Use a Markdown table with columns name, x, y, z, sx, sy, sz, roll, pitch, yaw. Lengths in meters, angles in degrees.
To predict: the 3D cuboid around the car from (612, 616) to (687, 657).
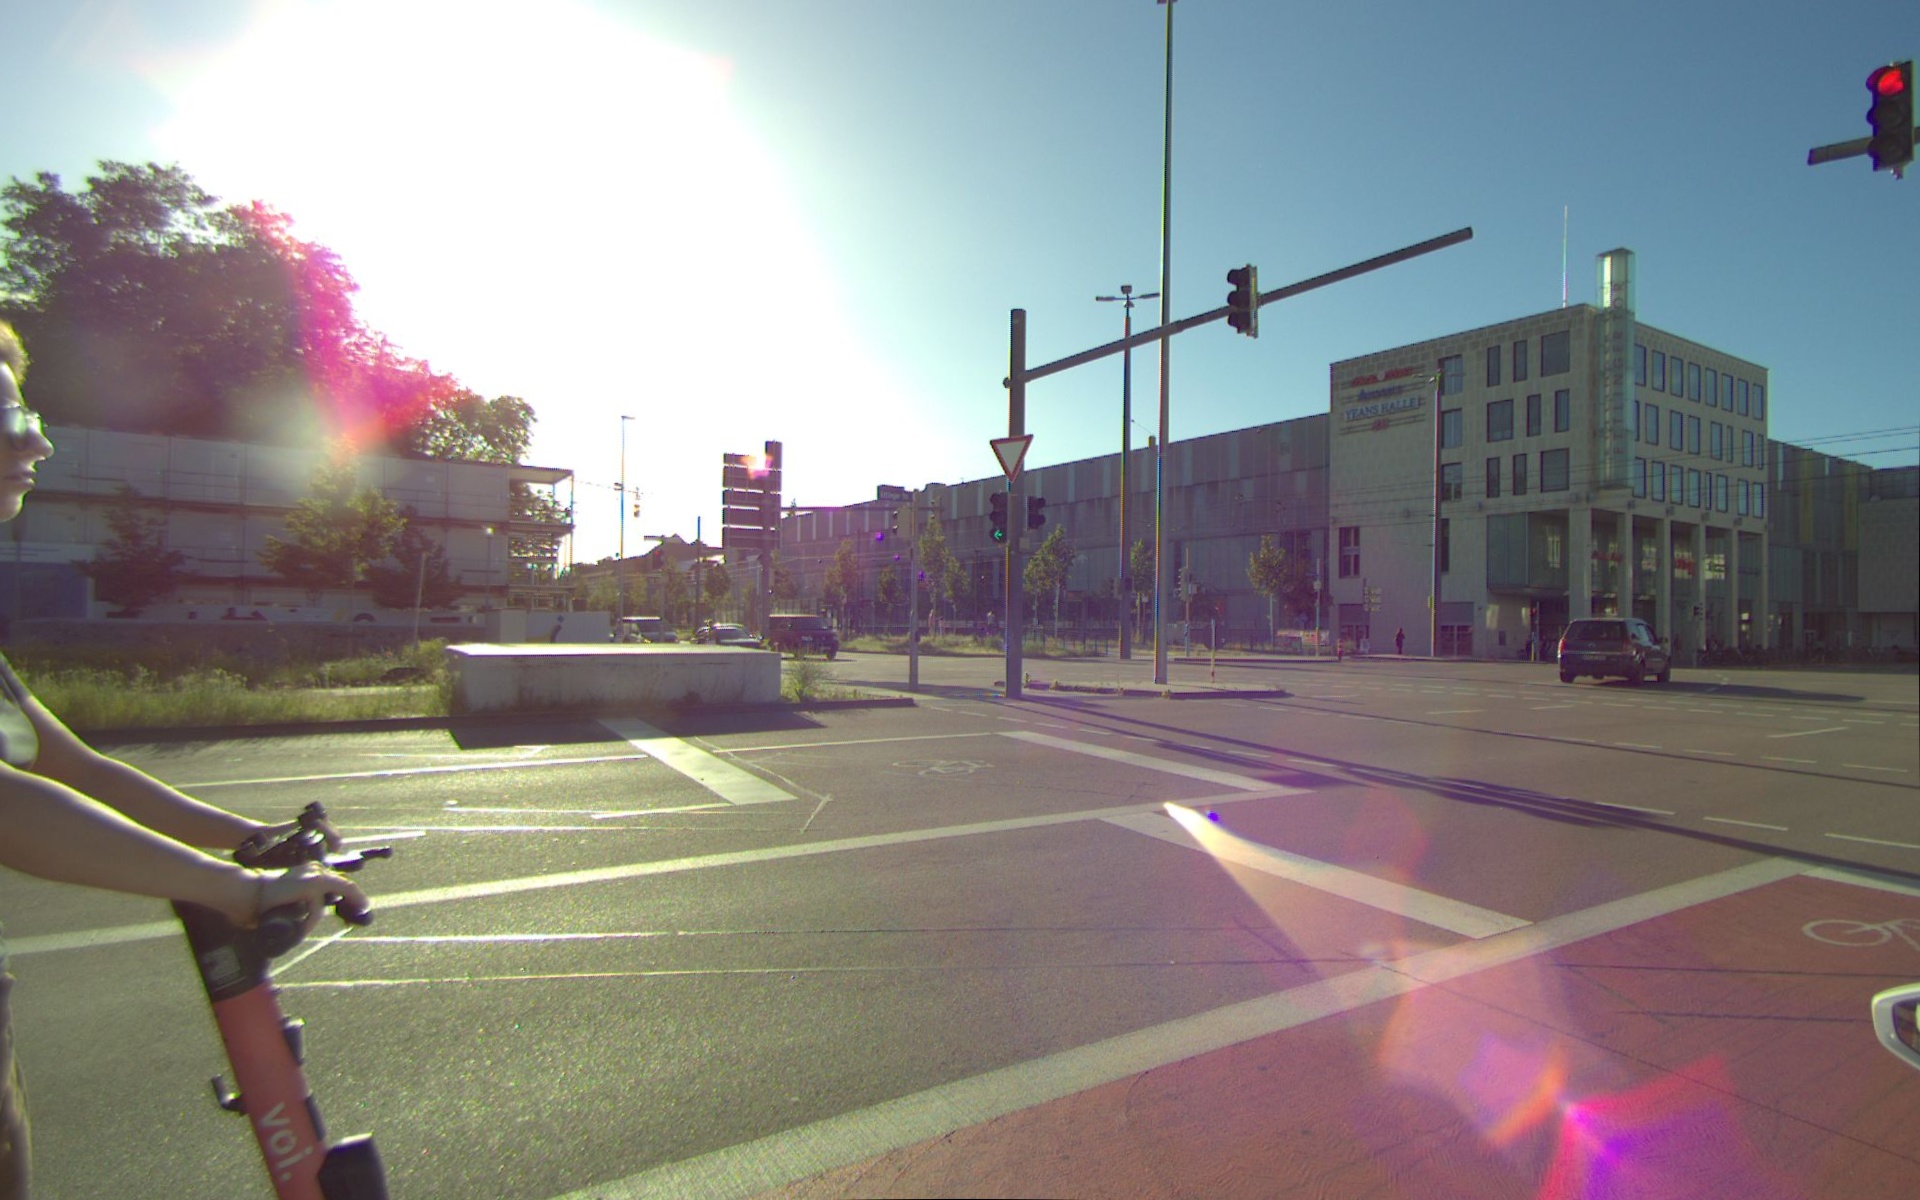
| name | x | y | z | sx | sy | sz | roll | pitch | yaw |
| --- | --- | --- | --- | --- | --- | --- | --- | --- | --- |
| car | -14.977 | 1.716 | 48.332 | 1.981 | 1.849 | 4.821 | 1 | -2 | -36 |

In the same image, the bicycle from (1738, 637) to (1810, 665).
| name | x | y | z | sx | sy | sz | roll | pitch | yaw |
| --- | --- | --- | --- | --- | --- | --- | --- | --- | --- |
| bicycle | 51.942 | 3.234 | 64.154 | 0.979 | 1.719 | 3.462 | 1 | -2 | -40 |

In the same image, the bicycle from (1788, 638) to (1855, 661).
| name | x | y | z | sx | sy | sz | roll | pitch | yaw |
| --- | --- | --- | --- | --- | --- | --- | --- | --- | --- |
| bicycle | 60.378 | 3.441 | 70.466 | 0.979 | 1.547 | 3.462 | 2 | -2 | -40 |

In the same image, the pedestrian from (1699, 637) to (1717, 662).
| name | x | y | z | sx | sy | sz | roll | pitch | yaw |
| --- | --- | --- | --- | --- | --- | --- | --- | --- | --- |
| pedestrian | 50.020 | 3.298 | 67.160 | 0.689 | 1.664 | 0.778 | 1 | -1 | -38 |

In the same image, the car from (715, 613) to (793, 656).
| name | x | y | z | sx | sy | sz | roll | pitch | yaw |
| --- | --- | --- | --- | --- | --- | --- | --- | --- | --- |
| car | -10.393 | 1.704 | 50.410 | 1.981 | 2.040 | 4.821 | 1 | -2 | -36 |

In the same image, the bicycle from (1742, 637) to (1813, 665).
| name | x | y | z | sx | sy | sz | roll | pitch | yaw |
| --- | --- | --- | --- | --- | --- | --- | --- | --- | --- |
| bicycle | 52.856 | 3.266 | 64.958 | 0.979 | 1.719 | 3.462 | 1 | -2 | -40 |

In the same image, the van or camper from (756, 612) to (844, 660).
| name | x | y | z | sx | sy | sz | roll | pitch | yaw |
| --- | --- | --- | --- | --- | --- | --- | --- | --- | --- |
| van or camper | -7.325 | 1.601 | 45.609 | 1.981 | 2.040 | 4.821 | 1 | -2 | -36 |

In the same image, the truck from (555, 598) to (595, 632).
| name | x | y | z | sx | sy | sz | roll | pitch | yaw |
| --- | --- | --- | --- | --- | --- | --- | --- | --- | --- |
| truck | -33.484 | 1.340 | 87.241 | 1.979 | 2.875 | 6.293 | 1 | -2 | -33 |

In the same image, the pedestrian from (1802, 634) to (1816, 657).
| name | x | y | z | sx | sy | sz | roll | pitch | yaw |
| --- | --- | --- | --- | --- | --- | --- | --- | --- | --- |
| pedestrian | 63.865 | 3.429 | 75.556 | 0.689 | 1.664 | 0.648 | 1 | -1 | -38 |

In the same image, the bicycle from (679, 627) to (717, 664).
| name | x | y | z | sx | sy | sz | roll | pitch | yaw |
| --- | --- | --- | --- | --- | --- | --- | --- | --- | --- |
| bicycle | -15.052 | 2.571 | 57.678 | 1.007 | 2.040 | 3.472 | 1 | -2 | -33 |

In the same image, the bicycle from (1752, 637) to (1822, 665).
| name | x | y | z | sx | sy | sz | roll | pitch | yaw |
| --- | --- | --- | --- | --- | --- | --- | --- | --- | --- |
| bicycle | 54.501 | 3.327 | 66.248 | 0.979 | 1.719 | 3.462 | 1 | -2 | -40 |

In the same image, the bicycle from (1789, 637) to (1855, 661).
| name | x | y | z | sx | sy | sz | roll | pitch | yaw |
| --- | --- | --- | --- | --- | --- | --- | --- | --- | --- |
| bicycle | 61.184 | 3.458 | 71.298 | 0.979 | 1.547 | 3.462 | 2 | -2 | -40 |

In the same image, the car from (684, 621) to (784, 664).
| name | x | y | z | sx | sy | sz | roll | pitch | yaw |
| --- | --- | --- | --- | --- | --- | --- | --- | --- | --- |
| car | -9.400 | 1.712 | 41.504 | 2.313 | 1.671 | 4.821 | 1 | -2 | -37 |

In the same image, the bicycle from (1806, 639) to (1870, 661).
| name | x | y | z | sx | sy | sz | roll | pitch | yaw |
| --- | --- | --- | --- | --- | --- | --- | --- | --- | --- |
| bicycle | 64.502 | 3.653 | 73.847 | 0.979 | 1.547 | 3.462 | 2 | -2 | -40 |

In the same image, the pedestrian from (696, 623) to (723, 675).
| name | x | y | z | sx | sy | sz | roll | pitch | yaw |
| --- | --- | --- | --- | --- | --- | --- | --- | --- | --- |
| pedestrian | -8.229 | 1.596 | 32.974 | 0.619 | 1.674 | 0.935 | 1 | -1 | -30 |

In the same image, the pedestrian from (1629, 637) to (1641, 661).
| name | x | y | z | sx | sy | sz | roll | pitch | yaw |
| --- | --- | --- | --- | --- | --- | --- | --- | --- | --- |
| pedestrian | 44.337 | 3.196 | 65.951 | 0.508 | 1.530 | 0.508 | 1 | -1 | -34 |

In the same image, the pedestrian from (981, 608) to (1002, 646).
| name | x | y | z | sx | sy | sz | roll | pitch | yaw |
| --- | --- | --- | --- | --- | --- | --- | --- | --- | --- |
| pedestrian | 1.581 | 1.360 | 50.585 | 0.788 | 1.855 | 0.706 | 1 | -1 | -37 |

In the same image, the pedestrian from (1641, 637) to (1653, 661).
| name | x | y | z | sx | sy | sz | roll | pitch | yaw |
| --- | --- | --- | --- | --- | --- | --- | --- | --- | --- |
| pedestrian | 45.072 | 3.214 | 65.920 | 0.508 | 1.530 | 0.479 | 1 | -1 | -34 |

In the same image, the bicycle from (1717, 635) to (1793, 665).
| name | x | y | z | sx | sy | sz | roll | pitch | yaw |
| --- | --- | --- | --- | --- | --- | --- | --- | --- | --- |
| bicycle | 48.211 | 3.019 | 60.933 | 1.107 | 1.719 | 3.465 | 1 | -2 | -38 |

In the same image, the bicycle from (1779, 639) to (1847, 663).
| name | x | y | z | sx | sy | sz | roll | pitch | yaw |
| --- | --- | --- | --- | --- | --- | --- | --- | --- | --- |
| bicycle | 58.870 | 3.486 | 69.385 | 0.979 | 1.547 | 3.462 | 2 | -2 | -40 |

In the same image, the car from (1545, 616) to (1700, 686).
| name | x | y | z | sx | sy | sz | roll | pitch | yaw |
| --- | --- | --- | --- | --- | --- | --- | --- | --- | --- |
| car | 16.773 | 1.232 | 25.361 | 4.441 | 1.628 | 1.979 | 1 | -2 | -38 |

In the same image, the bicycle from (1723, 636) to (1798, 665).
| name | x | y | z | sx | sy | sz | roll | pitch | yaw |
| --- | --- | --- | --- | --- | --- | --- | --- | --- | --- |
| bicycle | 49.140 | 3.086 | 61.734 | 1.107 | 1.719 | 3.465 | 1 | -2 | -38 |

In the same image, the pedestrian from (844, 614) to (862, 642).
| name | x | y | z | sx | sy | sz | roll | pitch | yaw |
| --- | --- | --- | --- | --- | --- | --- | --- | --- | --- |
| pedestrian | -7.023 | 1.839 | 65.830 | 0.889 | 1.855 | 0.787 | 1 | -1 | -35 |

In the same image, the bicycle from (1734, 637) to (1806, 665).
| name | x | y | z | sx | sy | sz | roll | pitch | yaw |
| --- | --- | --- | --- | --- | --- | --- | --- | --- | --- |
| bicycle | 51.116 | 3.197 | 63.419 | 0.979 | 1.719 | 3.462 | 1 | -2 | -40 |

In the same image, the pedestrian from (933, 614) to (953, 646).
| name | x | y | z | sx | sy | sz | roll | pitch | yaw |
| --- | --- | --- | --- | --- | --- | --- | --- | --- | --- |
| pedestrian | -1.008 | 1.788 | 59.384 | 0.889 | 1.855 | 0.787 | 1 | -1 | -35 |

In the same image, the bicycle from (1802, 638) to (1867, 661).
| name | x | y | z | sx | sy | sz | roll | pitch | yaw |
| --- | --- | --- | --- | --- | --- | --- | --- | --- | --- |
| bicycle | 63.702 | 3.597 | 73.199 | 0.979 | 1.547 | 3.462 | 2 | -2 | -40 |

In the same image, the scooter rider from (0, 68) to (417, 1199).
| name | x | y | z | sx | sy | sz | roll | pitch | yaw |
| --- | --- | --- | --- | --- | --- | --- | --- | --- | --- |
| scooter rider | -1.010 | 0.507 | 0.980 | 0.801 | 1.798 | 0.725 | 1 | -1 | -30 |

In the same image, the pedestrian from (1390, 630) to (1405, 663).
| name | x | y | z | sx | sy | sz | roll | pitch | yaw |
| --- | --- | --- | --- | --- | --- | --- | --- | --- | --- |
| pedestrian | 23.046 | 2.452 | 52.939 | 0.541 | 1.716 | 0.523 | 1 | -1 | -30 |

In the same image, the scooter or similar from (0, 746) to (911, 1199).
| name | x | y | z | sx | sy | sz | roll | pitch | yaw |
| --- | --- | --- | --- | --- | --- | --- | --- | --- | --- |
| scooter or similar | -0.951 | 0.848 | 1.045 | 1.645 | 1.218 | 0.725 | 1 | -1 | -30 |

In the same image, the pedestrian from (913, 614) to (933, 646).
| name | x | y | z | sx | sy | sz | roll | pitch | yaw |
| --- | --- | --- | --- | --- | --- | --- | --- | --- | --- |
| pedestrian | -2.170 | 1.776 | 59.439 | 0.889 | 1.855 | 0.787 | 1 | -1 | -35 |

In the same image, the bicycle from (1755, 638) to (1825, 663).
| name | x | y | z | sx | sy | sz | roll | pitch | yaw |
| --- | --- | --- | --- | --- | --- | --- | --- | --- | --- |
| bicycle | 55.252 | 3.336 | 66.916 | 0.979 | 1.547 | 3.462 | 2 | -2 | -40 |

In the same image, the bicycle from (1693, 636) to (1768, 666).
| name | x | y | z | sx | sy | sz | roll | pitch | yaw |
| --- | --- | --- | --- | --- | --- | --- | --- | --- | --- |
| bicycle | 46.620 | 3.050 | 60.829 | 1.107 | 1.719 | 3.465 | 1 | -2 | -38 |

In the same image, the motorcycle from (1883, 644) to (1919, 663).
| name | x | y | z | sx | sy | sz | roll | pitch | yaw |
| --- | --- | --- | --- | --- | --- | --- | --- | --- | --- |
| motorcycle | 70.641 | 3.985 | 75.162 | 0.713 | 1.335 | 2.260 | 1 | -2 | -34 |

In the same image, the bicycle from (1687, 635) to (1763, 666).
| name | x | y | z | sx | sy | sz | roll | pitch | yaw |
| --- | --- | --- | --- | --- | --- | --- | --- | --- | --- |
| bicycle | 45.696 | 2.984 | 60.028 | 1.107 | 1.719 | 3.465 | 1 | -2 | -38 |
